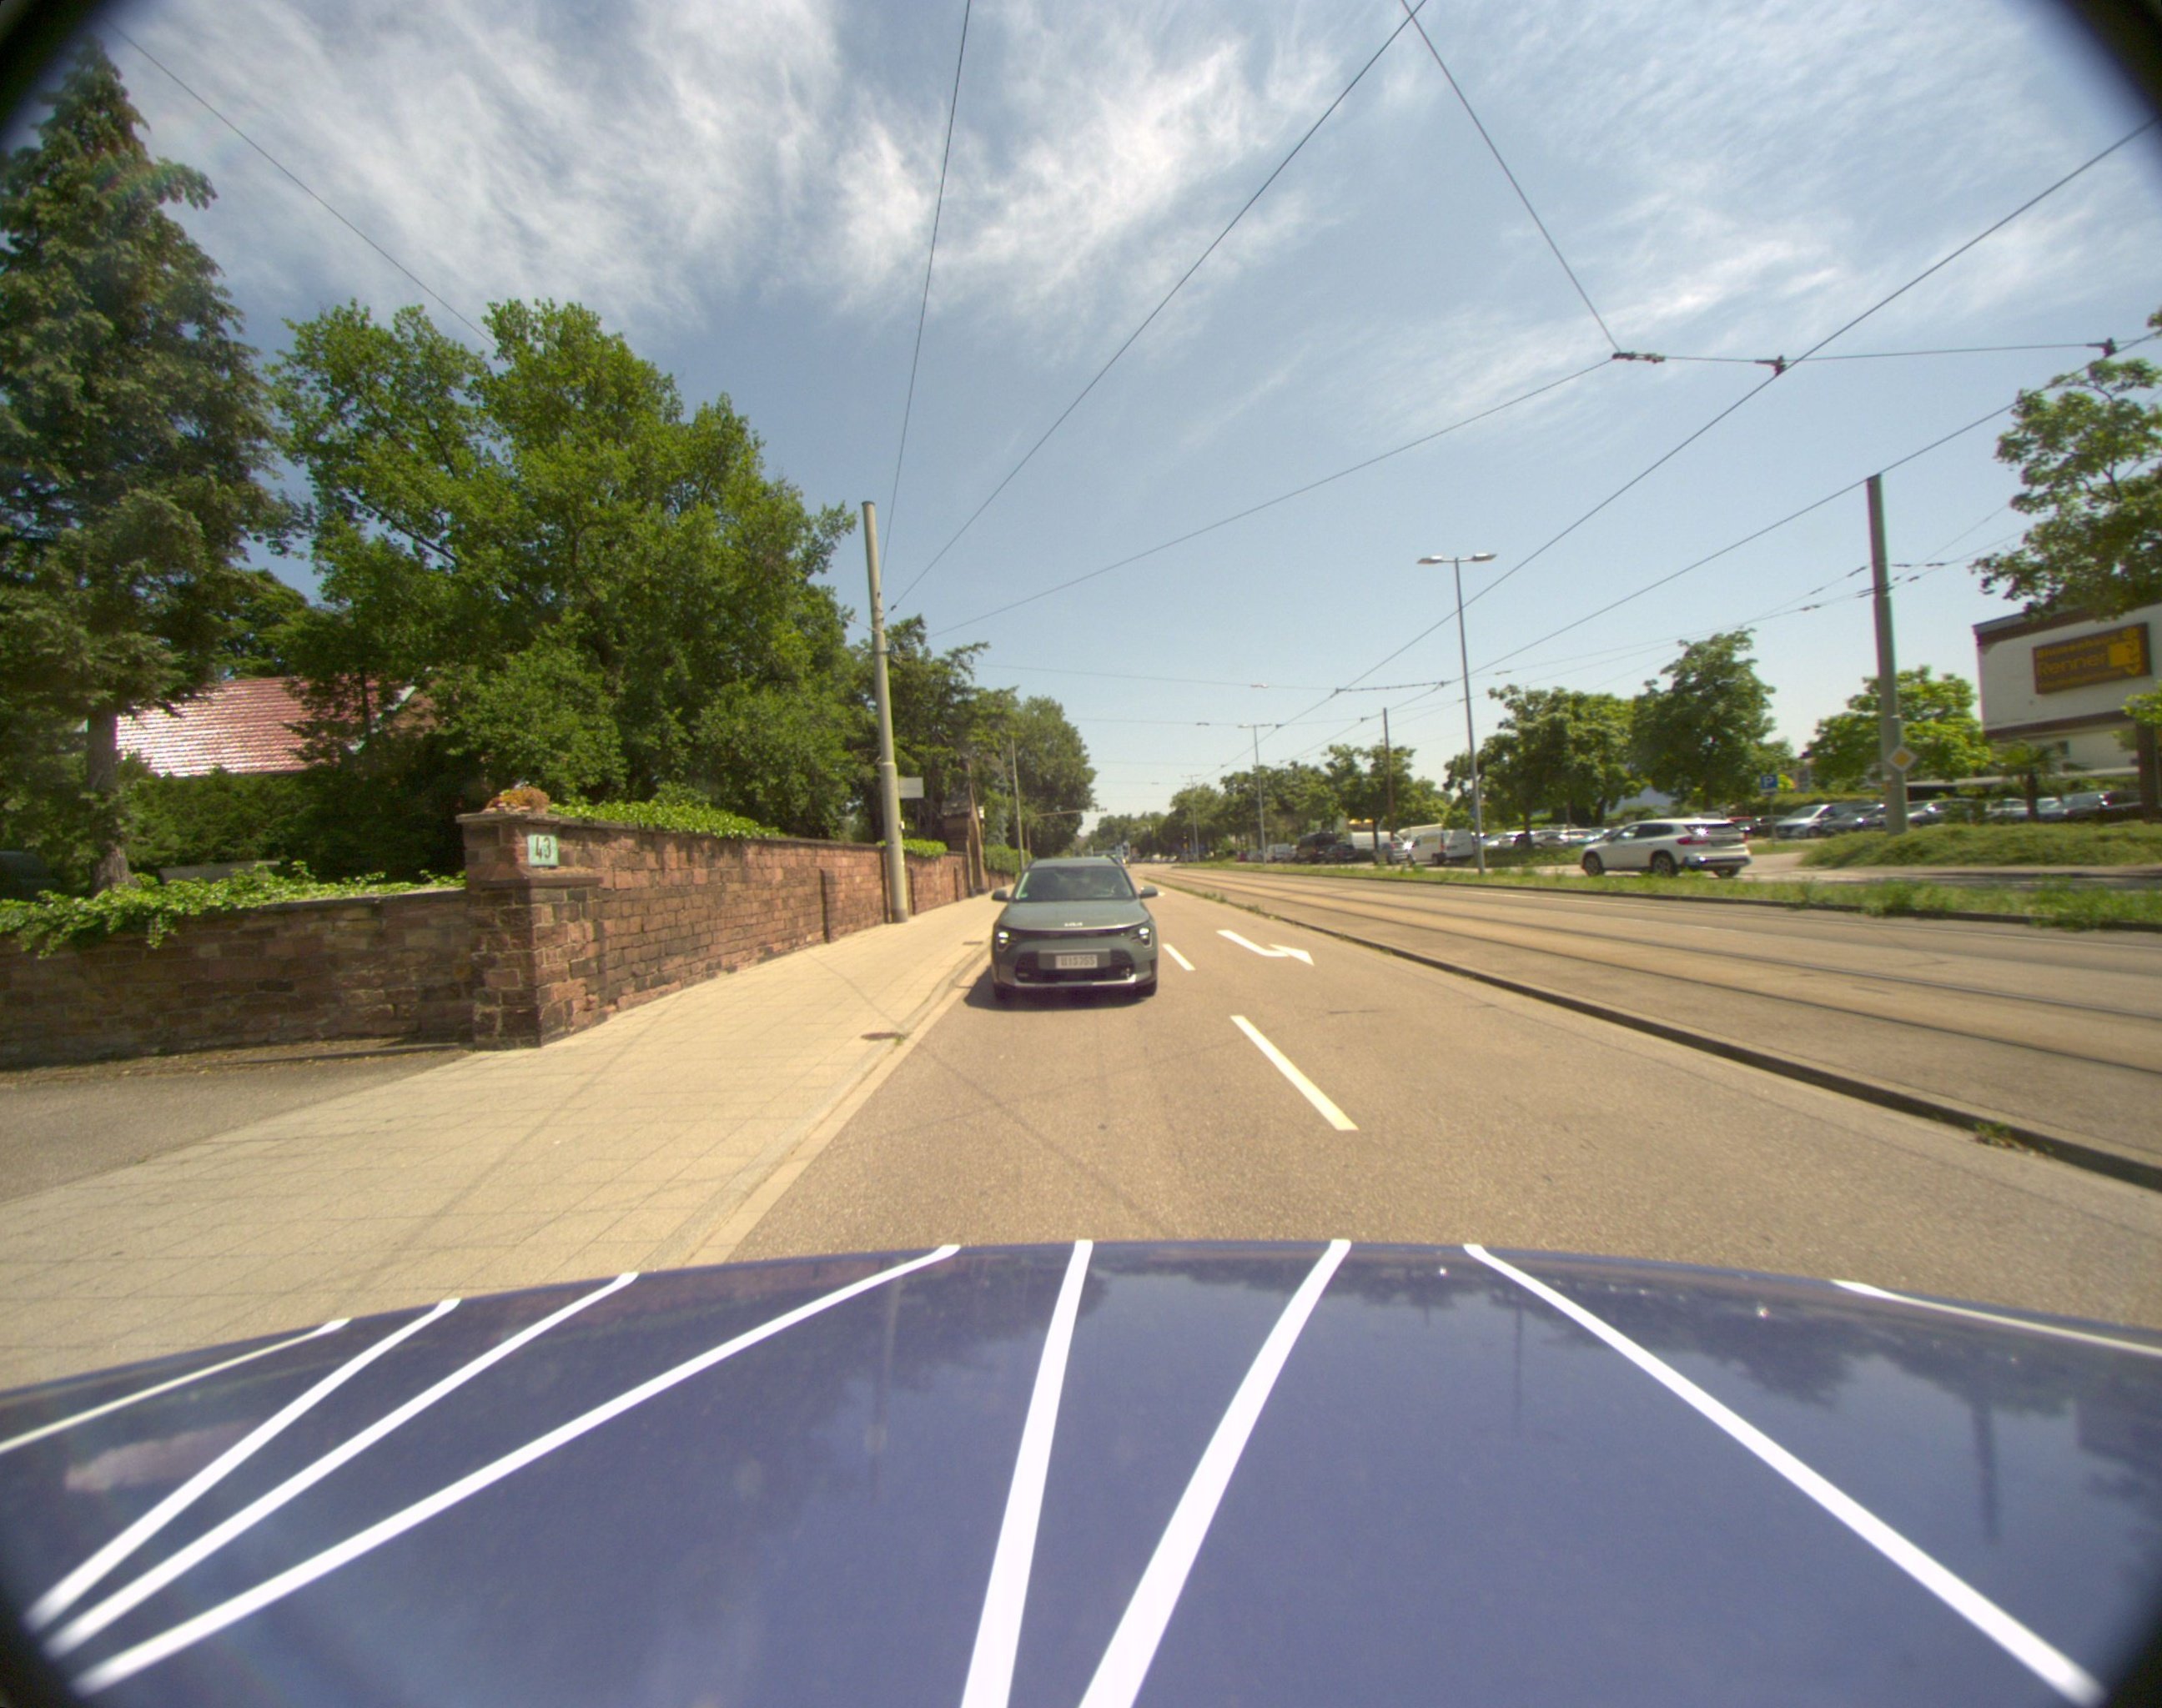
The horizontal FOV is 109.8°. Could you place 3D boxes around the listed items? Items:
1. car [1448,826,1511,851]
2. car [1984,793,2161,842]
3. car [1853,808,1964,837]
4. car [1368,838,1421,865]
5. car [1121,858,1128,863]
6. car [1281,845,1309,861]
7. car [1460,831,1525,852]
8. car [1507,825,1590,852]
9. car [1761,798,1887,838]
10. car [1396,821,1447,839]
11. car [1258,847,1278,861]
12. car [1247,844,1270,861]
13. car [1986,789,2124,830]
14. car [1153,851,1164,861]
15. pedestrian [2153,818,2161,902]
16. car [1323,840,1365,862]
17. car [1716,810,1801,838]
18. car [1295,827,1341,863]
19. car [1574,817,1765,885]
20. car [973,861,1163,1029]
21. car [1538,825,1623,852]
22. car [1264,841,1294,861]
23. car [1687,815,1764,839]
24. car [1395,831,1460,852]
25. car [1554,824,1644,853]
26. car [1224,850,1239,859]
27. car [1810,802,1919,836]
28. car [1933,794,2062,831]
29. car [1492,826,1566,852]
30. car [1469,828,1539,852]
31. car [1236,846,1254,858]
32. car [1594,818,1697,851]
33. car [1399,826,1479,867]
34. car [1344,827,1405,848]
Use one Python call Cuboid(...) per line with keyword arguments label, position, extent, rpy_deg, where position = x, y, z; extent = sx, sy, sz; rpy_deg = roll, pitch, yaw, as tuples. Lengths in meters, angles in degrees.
Cuboid(label="car", position=(31.610, -1.204, 60.267), extent=(3.998, 1.707, 1.797), rpy_deg=(-4, 0, -3))
Cuboid(label="car", position=(34.031, -1.229, 26.027), extent=(3.996, 1.289, 1.682), rpy_deg=(-4, -1, 2))
Cuboid(label="car", position=(42.744, -1.610, 39.315), extent=(3.724, 1.277, 1.764), rpy_deg=(-2, 1, 3))
Cuboid(label="car", position=(20.147, -0.172, 49.010), extent=(1.654, 1.494, 4.126), rpy_deg=(-7, 0, 1))
Cuboid(label="car", position=(13.361, 1.984, 233.227), extent=(1.820, 1.471, 3.423), rpy_deg=(-2, 1, 3))
Cuboid(label="car", position=(20.595, -0.130, 73.237), extent=(1.767, 1.456, 3.608), rpy_deg=(-2, 1, 2))
Cuboid(label="car", position=(31.163, -0.958, 57.613), extent=(3.998, 1.398, 1.797), rpy_deg=(-2, 0, -3))
Cuboid(label="car", position=(30.415, -0.980, 49.526), extent=(4.163, 1.481, 2.023), rpy_deg=(-4, 0, -6))
Cuboid(label="car", position=(43.344, -2.063, 44.435), extent=(5.120, 2.058, 2.226), rpy_deg=(-2, 1, 1))
Cuboid(label="car", position=(44.522, -3.115, 99.452), extent=(5.744, 2.051, 2.147), rpy_deg=(-3, 1, -2))
Cuboid(label="car", position=(20.774, -0.008, 84.629), extent=(1.429, 1.470, 3.262), rpy_deg=(-2, 1, 1))
Cuboid(label="car", position=(20.860, -0.209, 89.325), extent=(1.635, 1.882, 4.496), rpy_deg=(-2, 1, 1))
Cuboid(label="car", position=(43.314, -1.969, 33.854), extent=(3.996, 1.570, 1.520), rpy_deg=(-2, 1, 3))
Cuboid(label="car", position=(16.528, 0.344, 162.237), extent=(1.821, 1.979, 4.212), rpy_deg=(-3, 1, -3))
Cuboid(label="pedestrian", position=(26.676, 0.115, 16.191), extent=(1.998, 2.002, 3.999), rpy_deg=(-3, 1, 0))
Cuboid(label="car", position=(20.312, -0.230, 58.819), extent=(1.976, 1.568, 3.752), rpy_deg=(-2, 1, 1))
Cuboid(label="car", position=(43.817, -1.905, 49.188), extent=(3.997, 1.576, 1.684), rpy_deg=(-3, 1, -1))
Cuboid(label="car", position=(20.237, -0.783, 65.180), extent=(2.244, 2.821, 5.667), rpy_deg=(-2, 1, 1))
Cuboid(label="car", position=(16.008, -0.103, 21.042), extent=(1.728, 1.601, 4.569), rpy_deg=(-3, 1, 0))
Cuboid(label="car", position=(-0.140, 0.918, 9.652), extent=(1.824, 1.577, 4.287), rpy_deg=(-2, 0, 0))
Cuboid(label="car", position=(30.921, -0.967, 47.113), extent=(4.146, 1.481, 1.859), rpy_deg=(-3, 1, -6))
Cuboid(label="car", position=(20.578, -0.287, 79.089), extent=(1.924, 1.937, 4.817), rpy_deg=(-2, 1, 2))
Cuboid(label="car", position=(44.219, -1.843, 52.172), extent=(3.999, 1.486, 1.715), rpy_deg=(-3, 1, -5))
Cuboid(label="car", position=(31.226, -1.084, 68.547), extent=(4.926, 1.567, 2.000), rpy_deg=(-4, 0, -2))
Cuboid(label="car", position=(30.397, -0.893, 44.657), extent=(4.040, 1.481, 1.912), rpy_deg=(-3, 1, -6))
Cuboid(label="car", position=(21.343, 0.094, 107.908), extent=(1.582, 1.152, 3.423), rpy_deg=(-2, 1, 3))
Cuboid(label="car", position=(43.253, -1.913, 42.014), extent=(3.996, 1.647, 1.804), rpy_deg=(-2, 1, 3))
Cuboid(label="car", position=(43.886, -1.954, 36.451), extent=(3.996, 1.511, 1.661), rpy_deg=(-2, 1, 3))
Cuboid(label="car", position=(30.849, -1.018, 52.356), extent=(4.075, 1.481, 1.831), rpy_deg=(-4, 0, -6))
Cuboid(label="car", position=(30.503, -1.016, 54.851), extent=(3.999, 1.479, 1.866), rpy_deg=(-4, 0, -6))
Cuboid(label="car", position=(20.687, -0.238, 95.857), extent=(1.582, 1.471, 3.423), rpy_deg=(-2, 1, 3))
Cuboid(label="car", position=(31.115, -1.053, 41.972), extent=(4.171, 1.481, 1.984), rpy_deg=(-4, 0, -1))
Cuboid(label="car", position=(20.028, -0.402, 42.802), extent=(1.880, 1.999, 5.344), rpy_deg=(-7, 0, 1))
Cuboid(label="car", position=(30.603, -1.672, 79.341), extent=(5.434, 1.944, 2.029), rpy_deg=(-2, 1, 2))
